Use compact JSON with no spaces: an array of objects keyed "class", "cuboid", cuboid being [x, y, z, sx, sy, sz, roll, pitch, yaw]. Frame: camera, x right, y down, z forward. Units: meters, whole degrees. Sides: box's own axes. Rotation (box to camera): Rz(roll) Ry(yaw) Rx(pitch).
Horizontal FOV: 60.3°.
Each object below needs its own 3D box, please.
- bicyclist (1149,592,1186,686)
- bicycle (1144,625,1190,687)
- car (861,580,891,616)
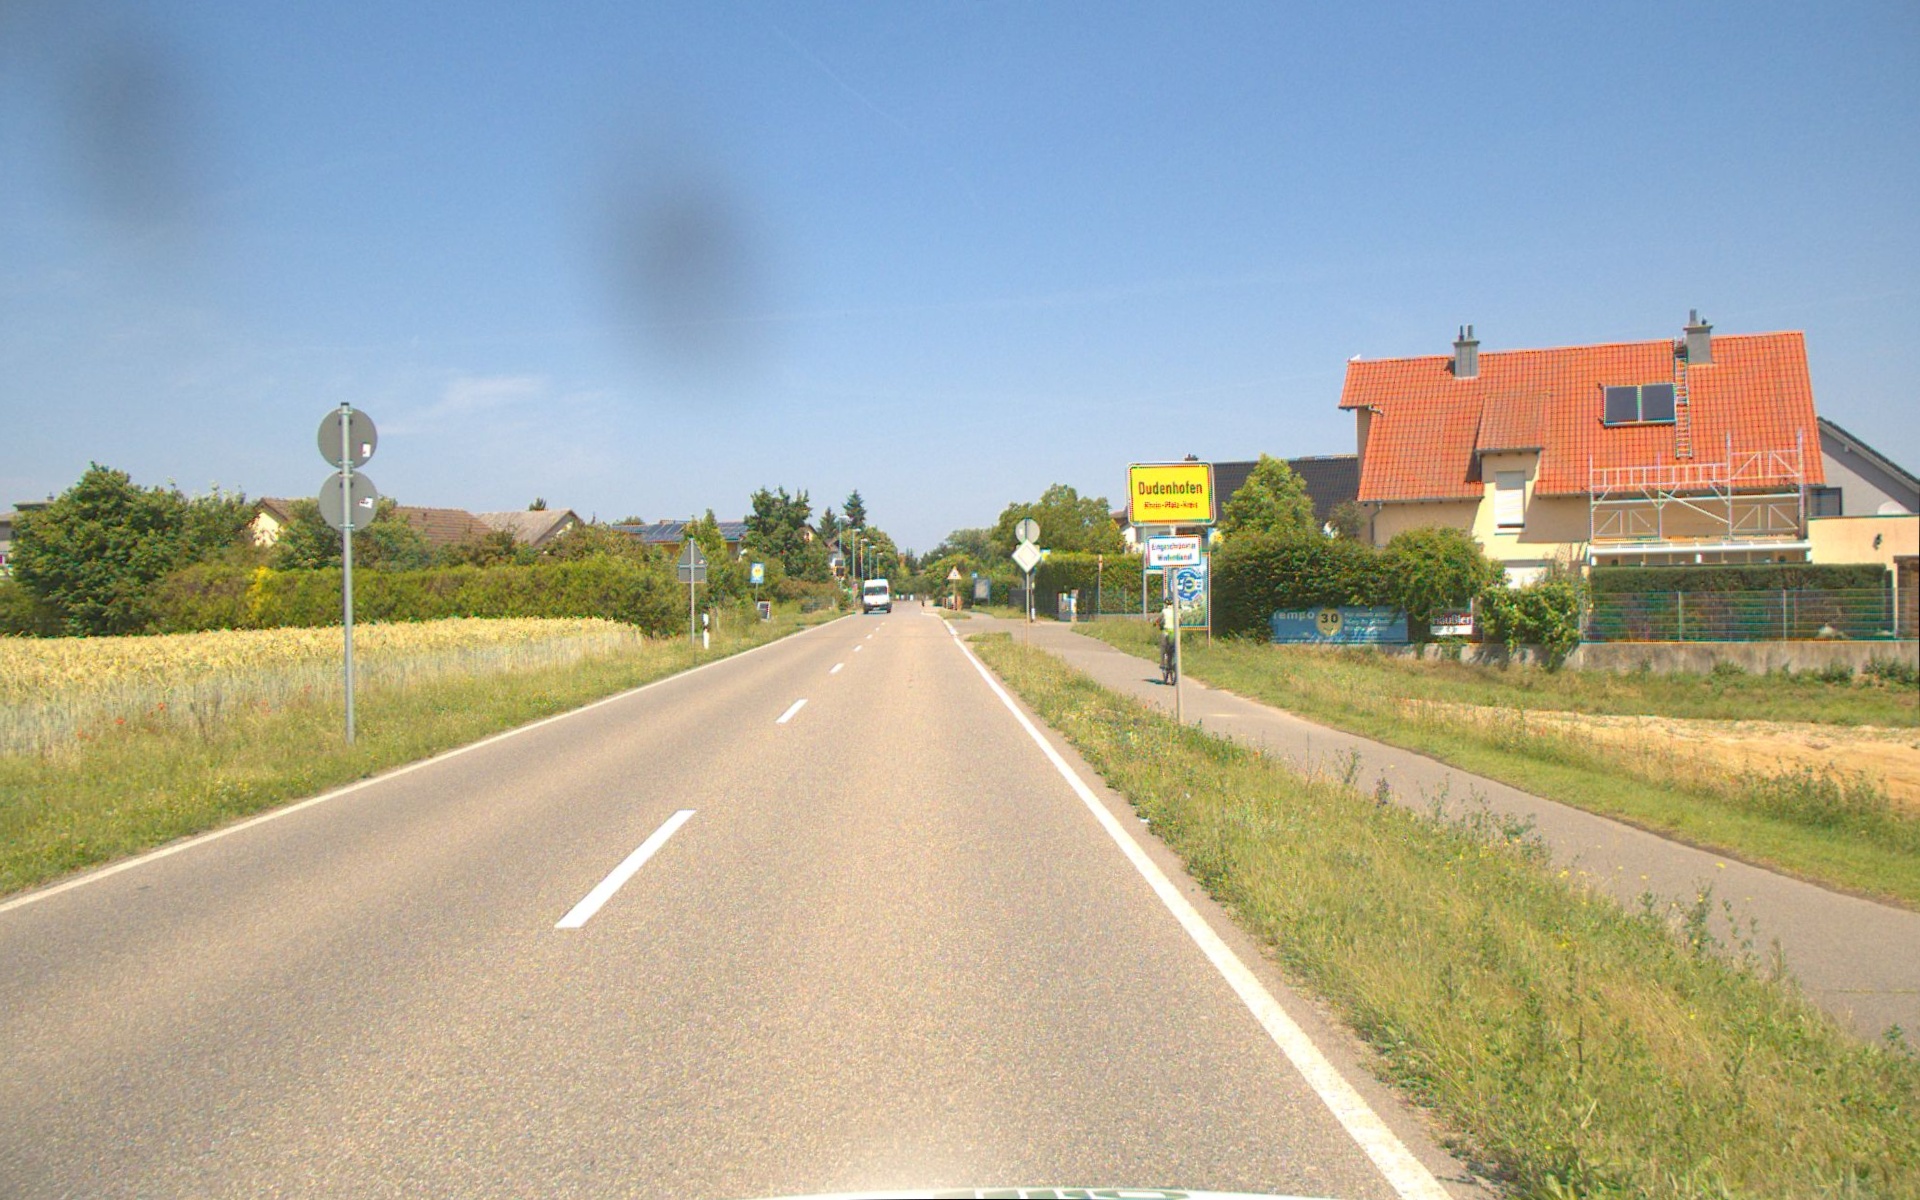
[{"class":"bicyclist","cuboid":[4.364,0.807,34.794,0.632,1.922,0.860,1,1,-2]},{"class":"bicycle","cuboid":[4.367,1.167,35.054,0.598,1.179,2.273,1,1,-2]},{"class":"car","cuboid":[-6.182,-0.182,122.807,2.035,2.586,5.871,-2,1,-2]}]
